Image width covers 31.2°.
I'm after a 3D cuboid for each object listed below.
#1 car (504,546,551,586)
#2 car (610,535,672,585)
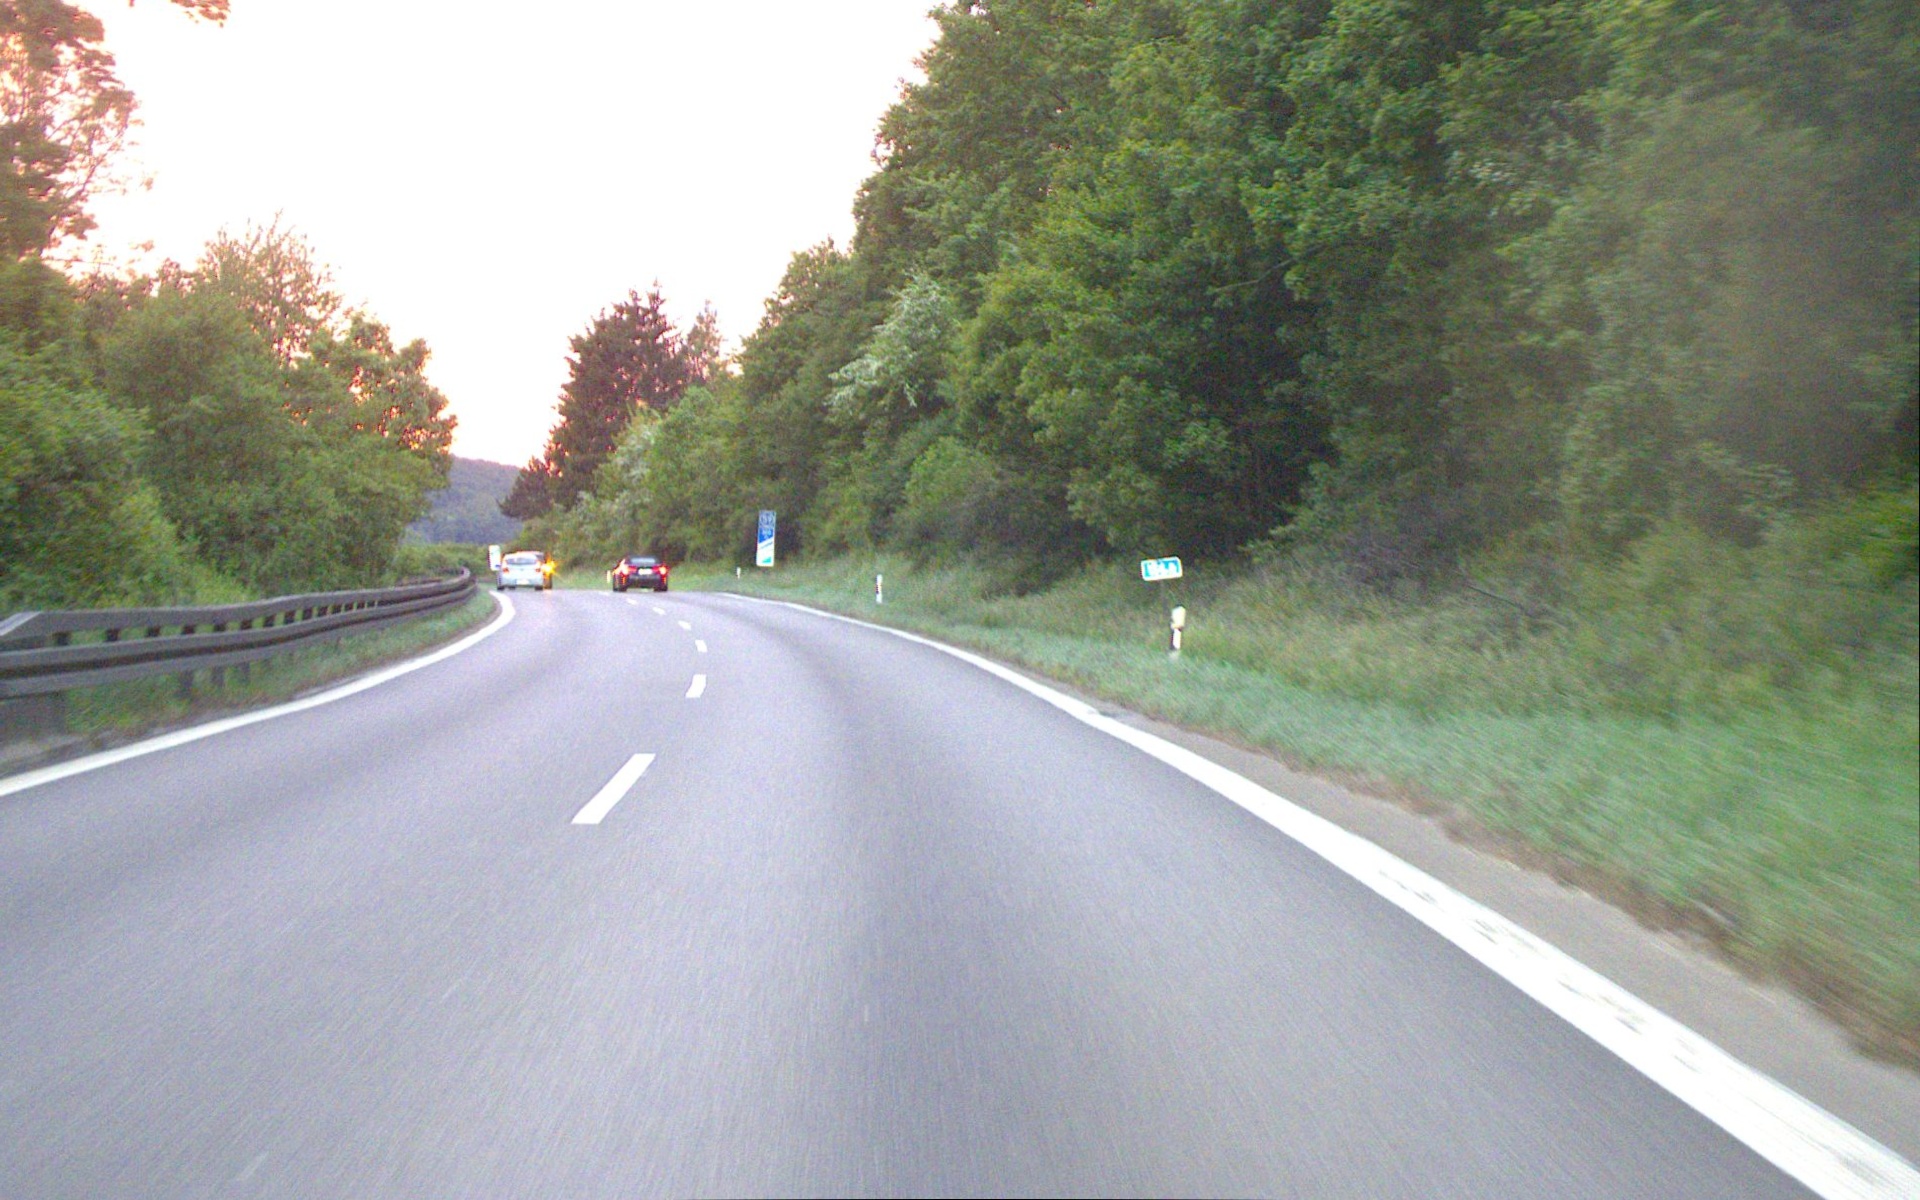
[{"bbox_3d":[-17.537,-1.368,139.550,1.718,1.496,4.000,1,-1,-5],"label":"car"},{"bbox_3d":[-12.428,-1.557,133.836,1.993,1.640,4.000,3,-3,-10],"label":"car"}]
